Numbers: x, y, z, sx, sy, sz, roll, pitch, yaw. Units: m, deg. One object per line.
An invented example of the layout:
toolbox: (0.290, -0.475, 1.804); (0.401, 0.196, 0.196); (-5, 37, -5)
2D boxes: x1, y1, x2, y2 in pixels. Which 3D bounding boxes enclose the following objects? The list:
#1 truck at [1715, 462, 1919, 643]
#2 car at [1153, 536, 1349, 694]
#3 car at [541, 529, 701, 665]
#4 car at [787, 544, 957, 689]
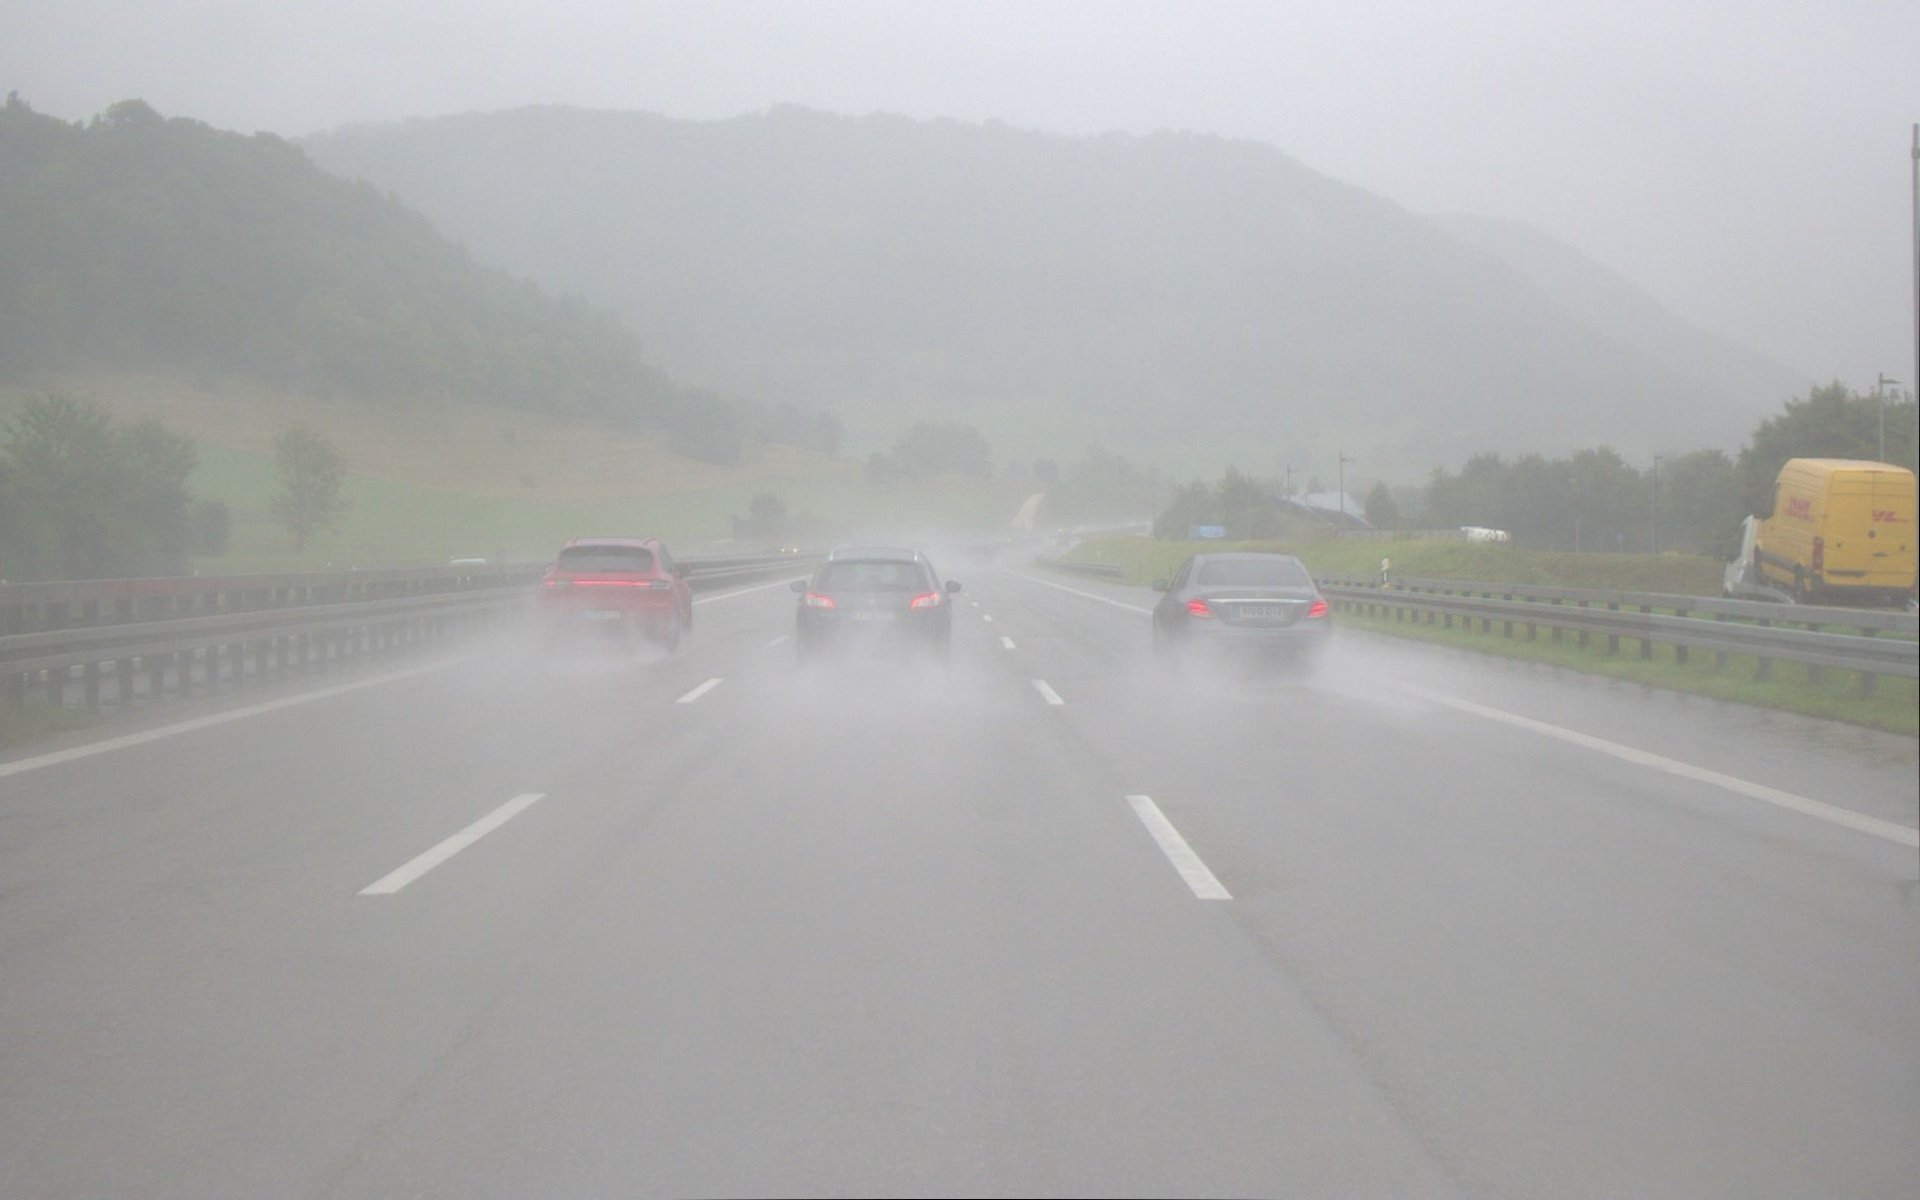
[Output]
truck: (16.256, -0.884, 64.744); (2.291, 3.136, 8.863); (1, 1, 2)
car: (3.375, 0.136, 40.580); (1.971, 1.754, 4.000); (0, 1, 0)
car: (-4.654, -0.079, 47.638); (1.884, 1.809, 4.000); (0, 1, -1)
car: (-0.988, 0.160, 40.407); (1.859, 1.584, 4.000); (1, 1, 0)
